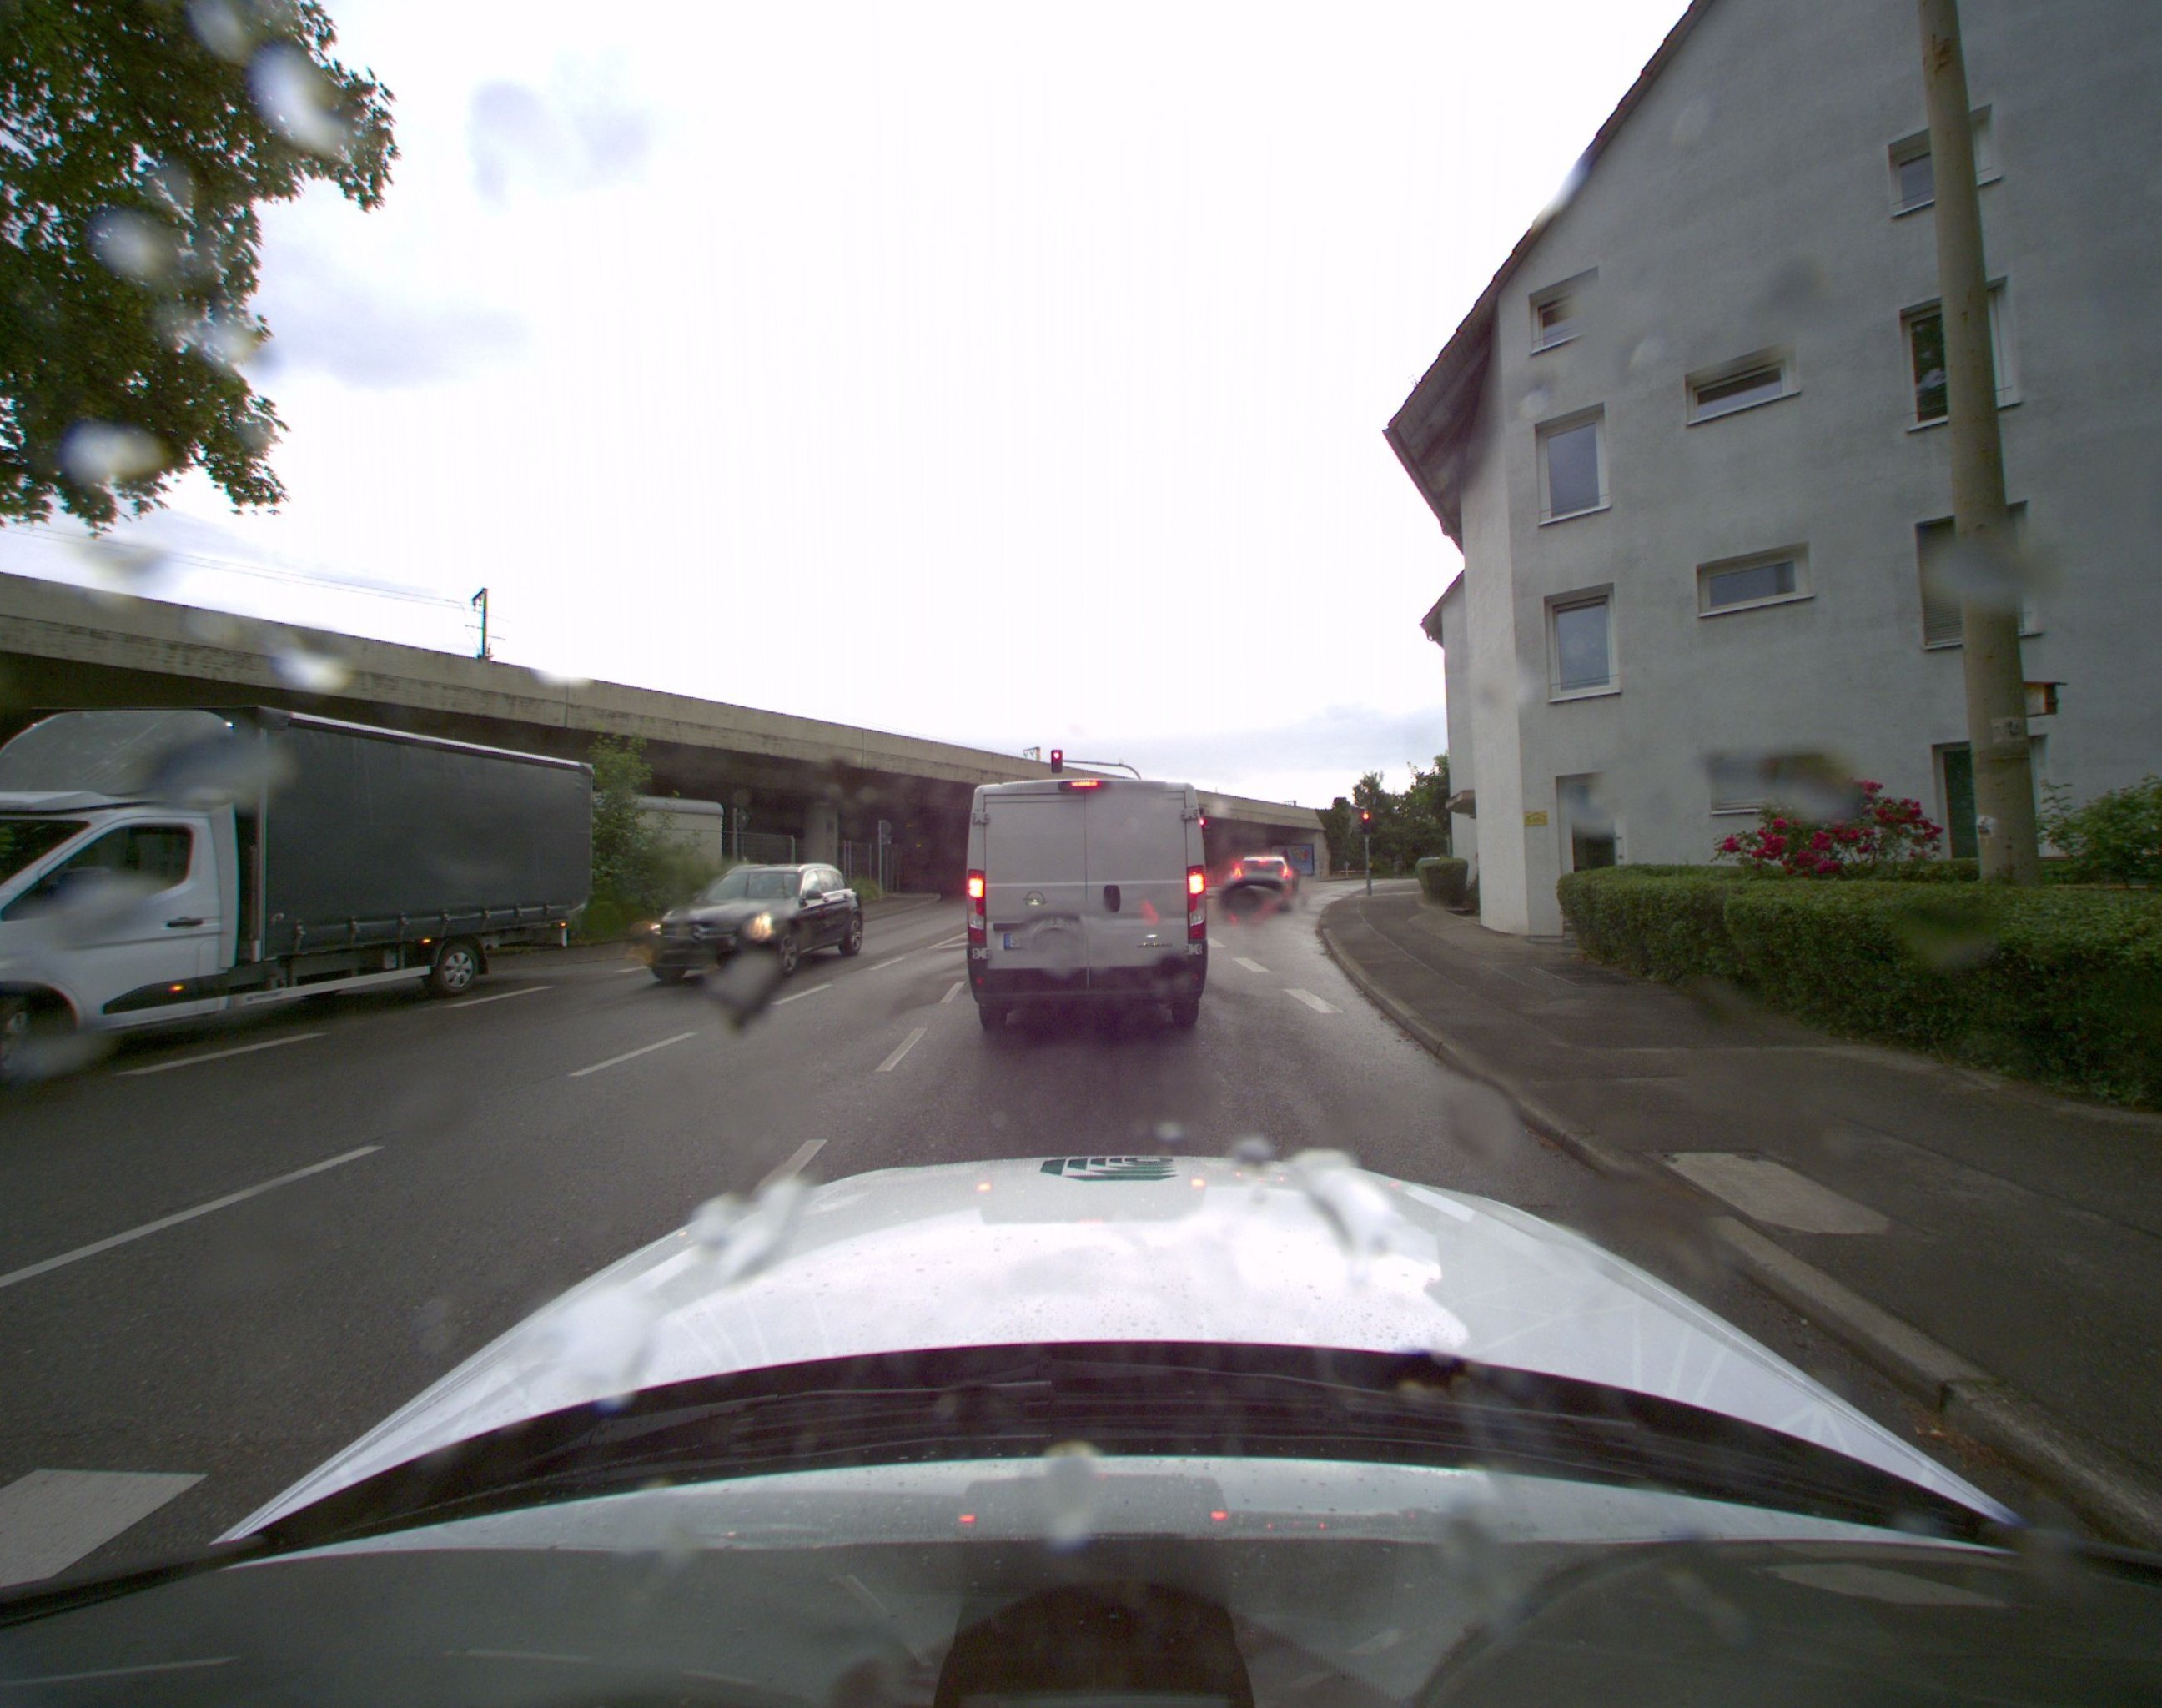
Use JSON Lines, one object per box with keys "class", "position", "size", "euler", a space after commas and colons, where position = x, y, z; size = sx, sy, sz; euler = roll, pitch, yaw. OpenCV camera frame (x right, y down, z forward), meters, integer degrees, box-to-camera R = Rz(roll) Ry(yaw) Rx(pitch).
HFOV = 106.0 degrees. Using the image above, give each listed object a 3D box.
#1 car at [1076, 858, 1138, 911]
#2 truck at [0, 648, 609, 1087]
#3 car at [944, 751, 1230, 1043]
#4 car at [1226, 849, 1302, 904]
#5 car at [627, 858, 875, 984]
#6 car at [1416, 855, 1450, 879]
{"class": "car", "position": [0.999, 1.068, 28.915], "size": [1.984, 1.729, 4.004], "euler": [-1, -2, 5]}
{"class": "truck", "position": [-9.083, 0.178, 9.171], "size": [2.599, 3.237, 7.782], "euler": [-1, -1, 3]}
{"class": "car", "position": [0.118, 0.379, 9.219], "size": [2.296, 2.343, 5.283], "euler": [0, -1, 2]}
{"class": "car", "position": [5.747, 0.695, 25.226], "size": [1.978, 1.549, 4.017], "euler": [-2, -2, 17]}
{"class": "car", "position": [-4.886, 0.901, 12.873], "size": [1.906, 1.626, 4.438], "euler": [-1, -1, 3]}
{"class": "car", "position": [24.401, 0.912, 56.378], "size": [1.975, 1.519, 4.023], "euler": [-2, -2, 26]}
